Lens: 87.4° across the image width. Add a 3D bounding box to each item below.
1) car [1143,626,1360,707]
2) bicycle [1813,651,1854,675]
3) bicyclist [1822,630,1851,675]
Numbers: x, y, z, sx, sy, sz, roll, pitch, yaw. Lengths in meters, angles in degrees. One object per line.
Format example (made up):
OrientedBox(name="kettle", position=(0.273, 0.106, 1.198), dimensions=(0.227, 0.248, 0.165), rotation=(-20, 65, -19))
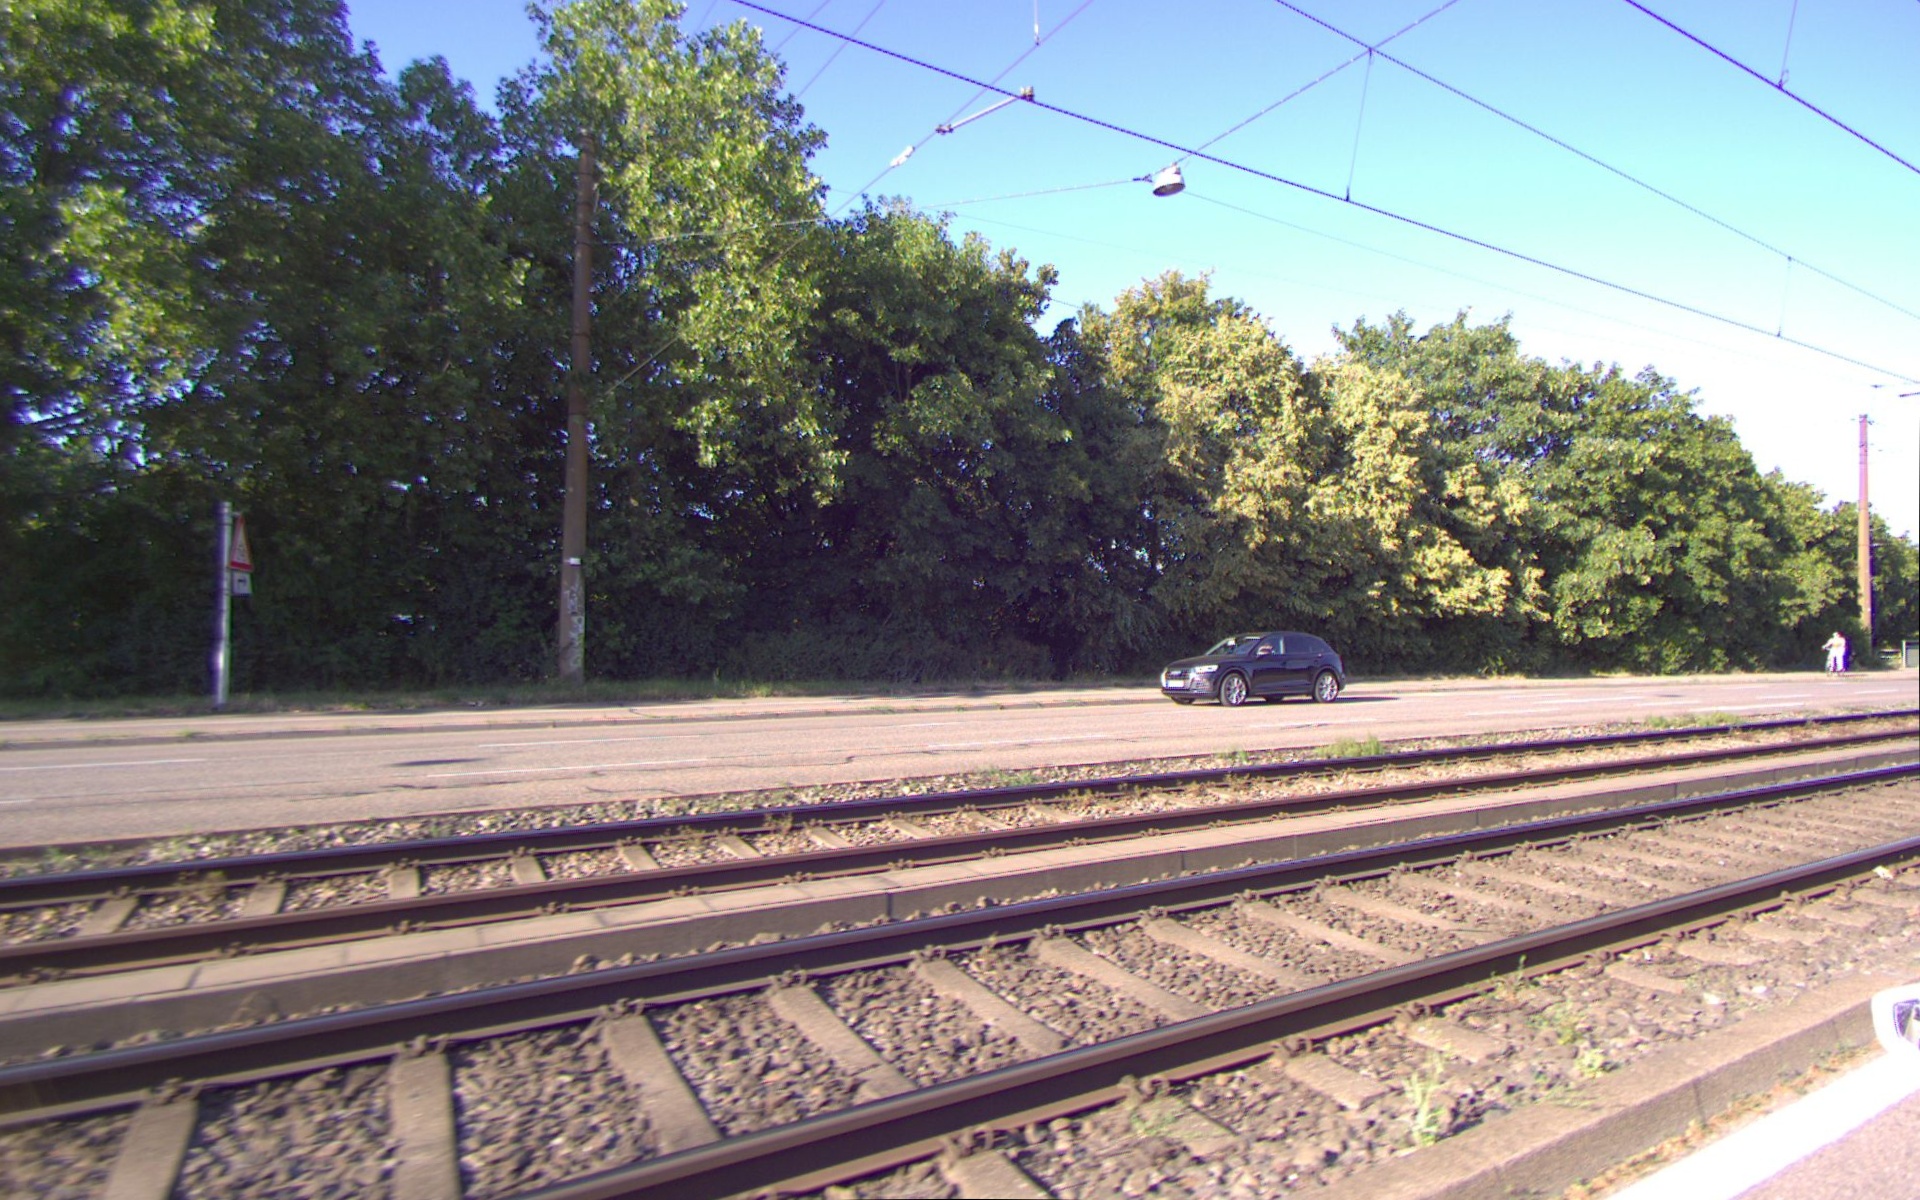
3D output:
OrientedBox(name="car", position=(6.704, 1.498, 23.032), dimensions=(4.734, 1.707, 1.987), rotation=(2, -3, -27))
OrientedBox(name="bicycle", position=(34.480, 2.498, 39.649), dimensions=(2.001, 0.904, 0.506), rotation=(2, 0, -27))
OrientedBox(name="bicyclist", position=(34.662, 2.074, 39.725), dimensions=(0.907, 1.710, 0.506), rotation=(2, 0, -27))
